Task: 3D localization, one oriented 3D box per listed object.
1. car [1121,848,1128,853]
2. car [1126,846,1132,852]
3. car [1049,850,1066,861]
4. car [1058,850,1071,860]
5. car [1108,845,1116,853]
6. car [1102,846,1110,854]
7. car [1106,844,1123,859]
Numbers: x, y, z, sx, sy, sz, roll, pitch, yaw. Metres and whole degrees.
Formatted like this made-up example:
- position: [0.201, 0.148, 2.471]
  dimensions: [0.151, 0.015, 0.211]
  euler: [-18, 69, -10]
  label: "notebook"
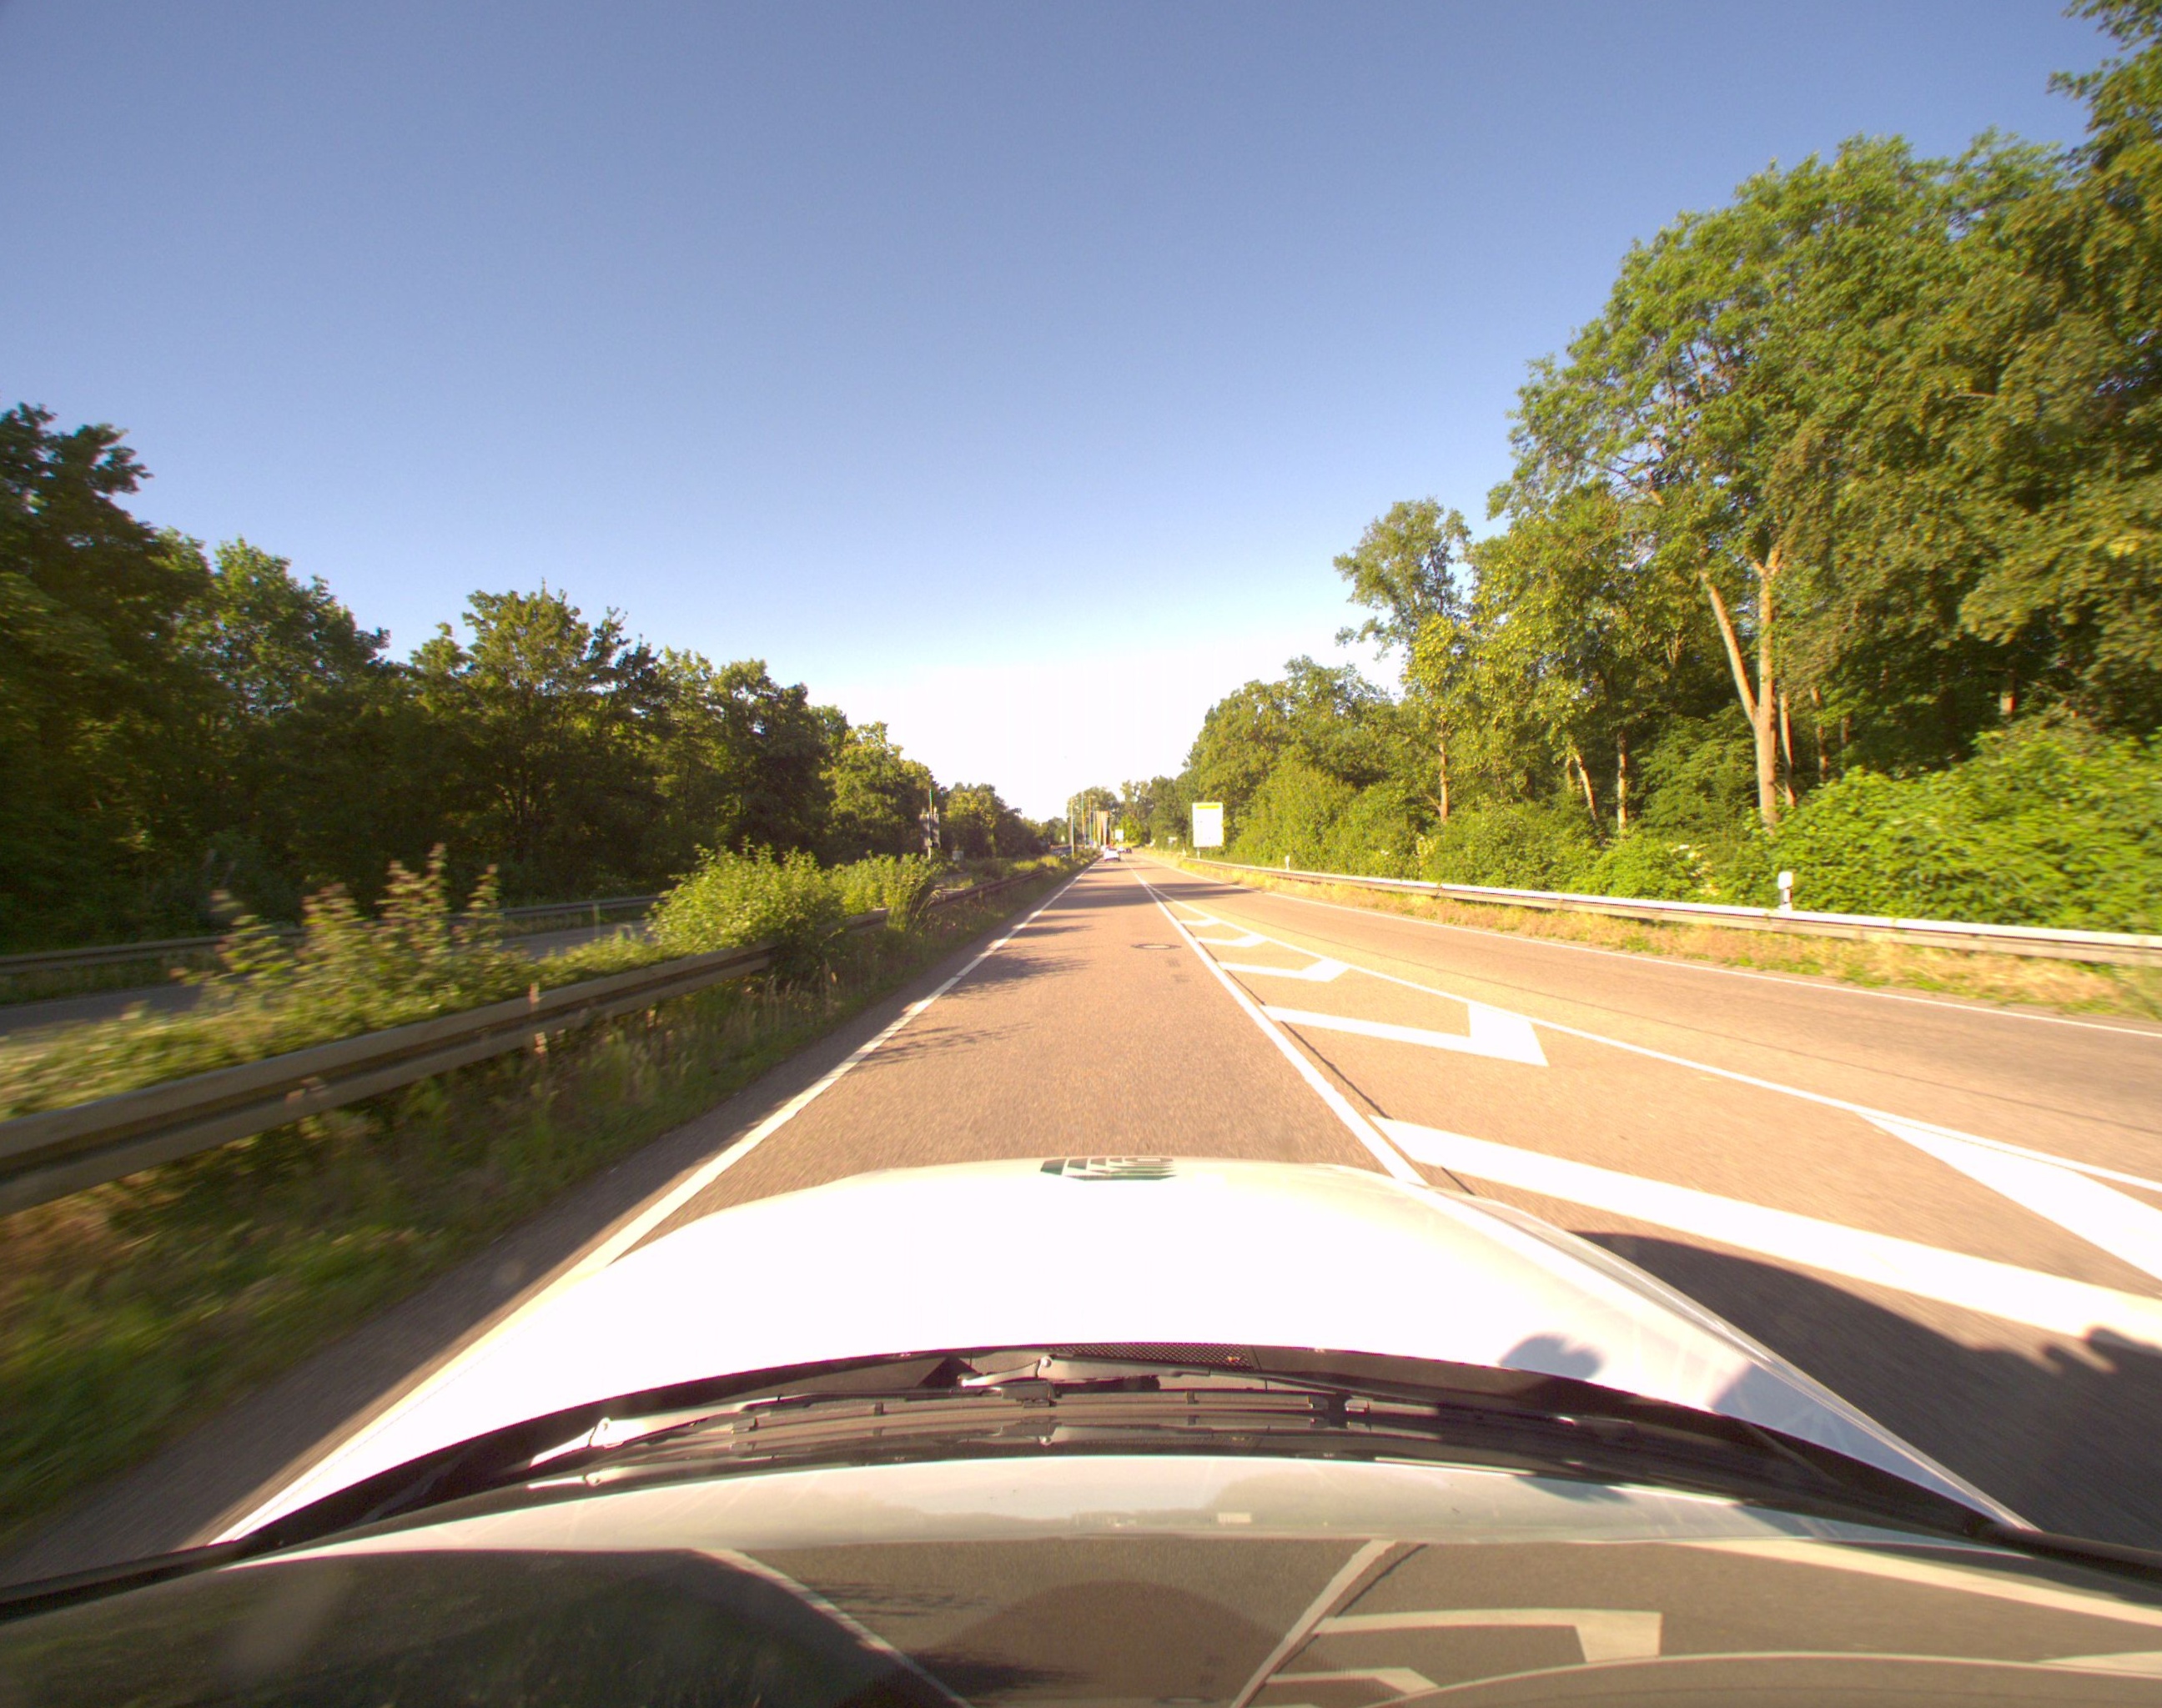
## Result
- position: [11.256, -0.952, 211.962]
  dimensions: [1.618, 1.280, 2.988]
  euler: [1, -1, 2]
  label: "car"
- position: [11.399, -1.125, 192.975]
  dimensions: [1.382, 1.280, 2.988]
  euler: [1, -1, 2]
  label: "car"
- position: [-3.169, 0.217, 108.659]
  dimensions: [1.773, 1.403, 4.558]
  euler: [-2, 0, 4]
  label: "car"
- position: [-2.759, 0.149, 134.754]
  dimensions: [1.611, 1.530, 4.614]
  euler: [-2, 0, 4]
  label: "car"
- position: [7.705, -1.222, 203.149]
  dimensions: [1.986, 1.879, 4.251]
  euler: [-2, 1, 2]
  label: "car"
- position: [6.684, -1.094, 220.988]
  dimensions: [1.988, 2.014, 3.997]
  euler: [0, -1, -2]
  label: "car"
- position: [4.021, -0.337, 98.024]
  dimensions: [1.986, 1.639, 4.131]
  euler: [-2, 1, 2]
  label: "car"
